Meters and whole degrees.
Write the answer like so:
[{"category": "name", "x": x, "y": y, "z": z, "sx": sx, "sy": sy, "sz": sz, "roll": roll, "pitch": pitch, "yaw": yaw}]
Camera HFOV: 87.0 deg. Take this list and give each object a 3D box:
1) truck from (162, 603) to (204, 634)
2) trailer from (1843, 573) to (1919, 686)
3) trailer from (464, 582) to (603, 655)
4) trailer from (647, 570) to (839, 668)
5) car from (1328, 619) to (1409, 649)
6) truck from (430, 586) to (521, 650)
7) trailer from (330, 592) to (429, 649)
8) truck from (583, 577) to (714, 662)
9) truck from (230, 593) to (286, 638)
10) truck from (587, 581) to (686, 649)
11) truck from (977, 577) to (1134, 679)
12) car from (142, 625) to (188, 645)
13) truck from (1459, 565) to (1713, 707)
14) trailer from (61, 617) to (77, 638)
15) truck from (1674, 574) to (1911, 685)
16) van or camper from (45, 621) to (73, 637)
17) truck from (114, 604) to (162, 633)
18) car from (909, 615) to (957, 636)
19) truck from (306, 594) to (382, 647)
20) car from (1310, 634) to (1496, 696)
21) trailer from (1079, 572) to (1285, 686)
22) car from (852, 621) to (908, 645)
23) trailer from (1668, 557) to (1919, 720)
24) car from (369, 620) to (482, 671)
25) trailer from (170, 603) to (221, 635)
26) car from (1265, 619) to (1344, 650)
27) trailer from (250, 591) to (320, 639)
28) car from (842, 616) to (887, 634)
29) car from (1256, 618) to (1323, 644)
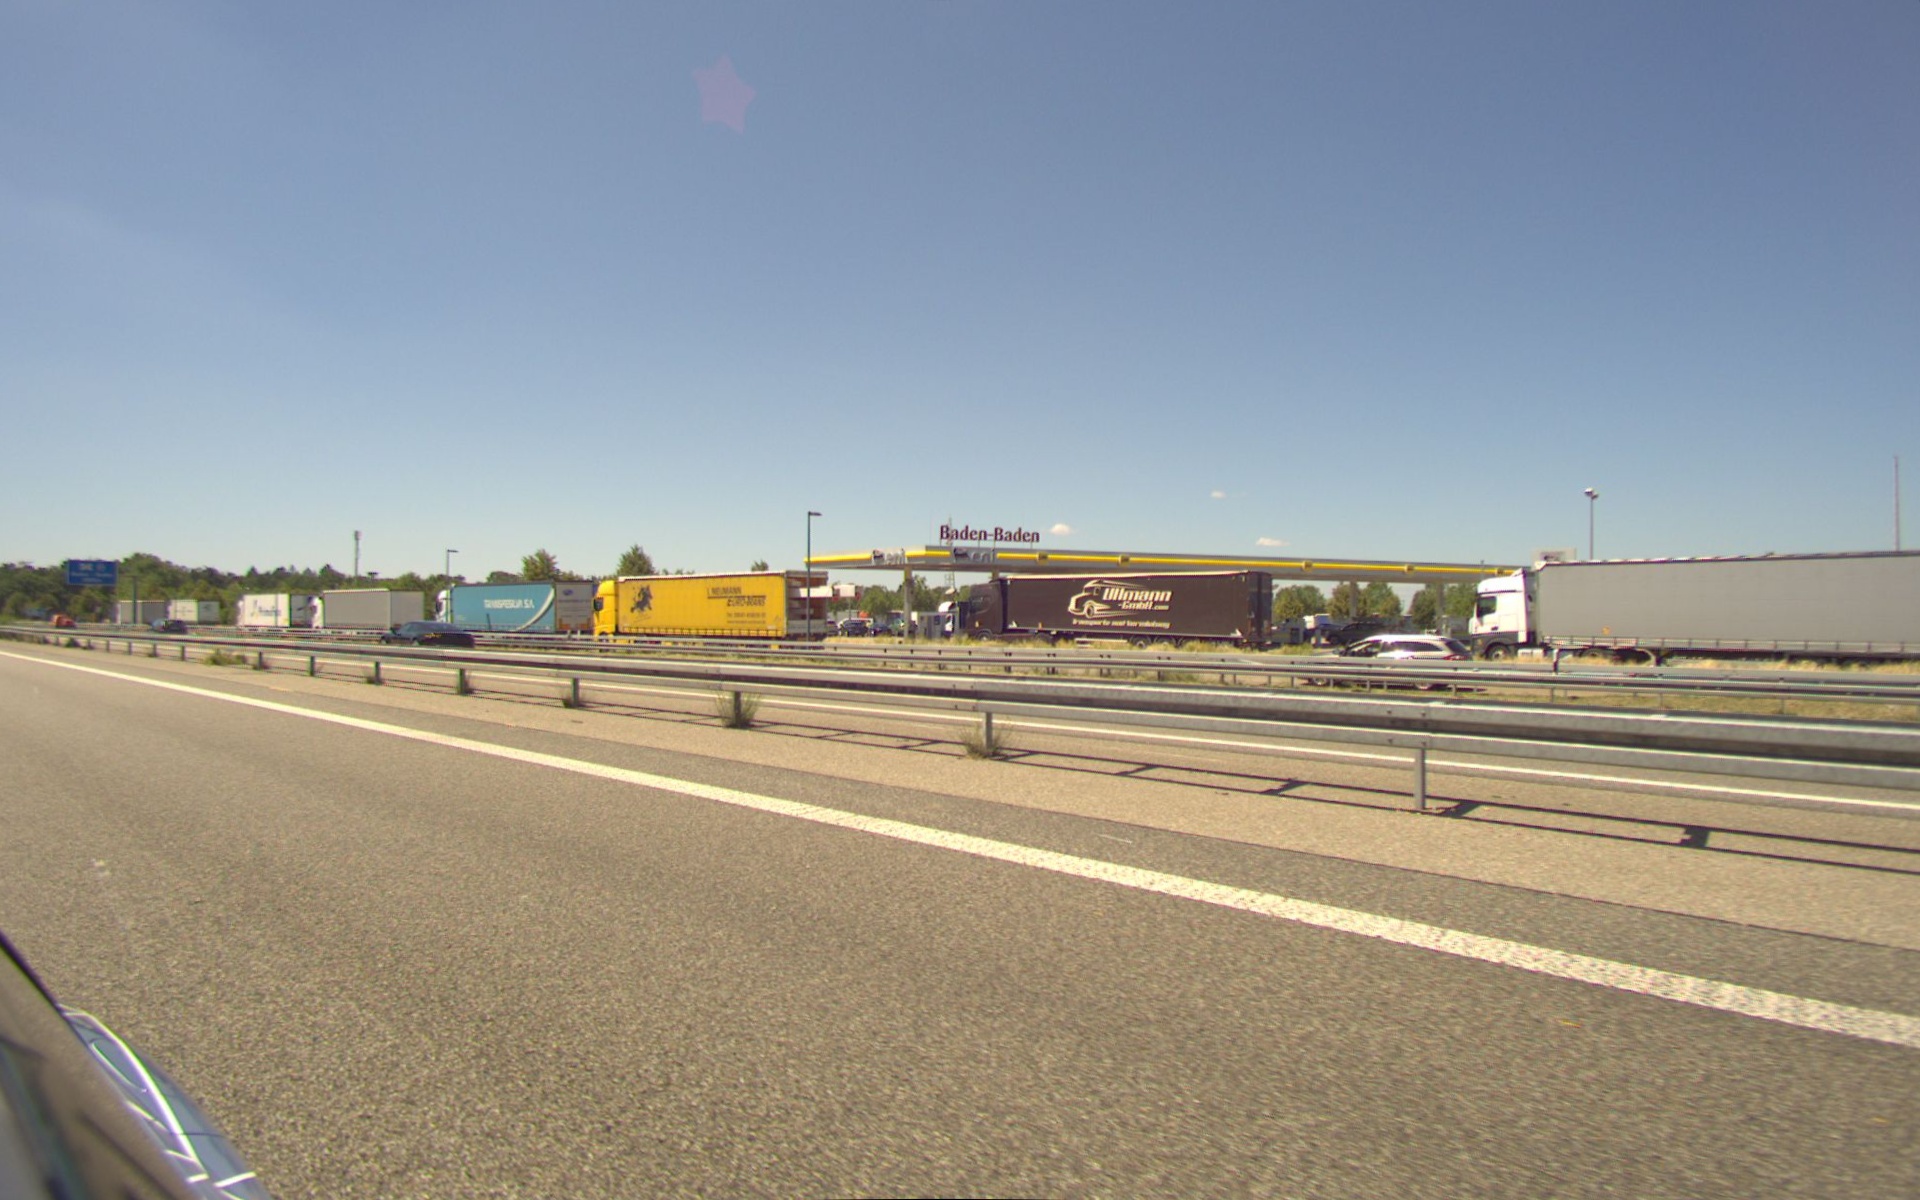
[{"category": "truck", "x": -110.052, "y": 2.652, "z": 143.315, "sx": 8.311, "sy": 4.183, "sz": 3.063, "roll": -1, "pitch": 0, "yaw": 41}, {"category": "trailer", "x": 41.696, "y": 1.076, "z": 37.886, "sx": 12.921, "sy": 4.390, "sz": 3.265, "roll": -1, "pitch": 0, "yaw": 43}, {"category": "trailer", "x": -26.816, "y": 1.101, "z": 63.188, "sx": 12.074, "sy": 4.179, "sz": 2.805, "roll": -1, "pitch": 0, "yaw": 40}, {"category": "trailer", "x": -10.711, "y": 0.867, "z": 48.881, "sx": 11.074, "sy": 4.251, "sz": 2.805, "roll": -1, "pitch": 0, "yaw": 40}, {"category": "car", "x": 28.939, "y": 2.384, "z": 71.776, "sx": 4.990, "sy": 2.003, "sz": 1.794, "roll": -1, "pitch": 0, "yaw": 41}, {"category": "truck", "x": -32.683, "y": 1.169, "z": 68.157, "sx": 7.084, "sy": 4.104, "sz": 2.821, "roll": -1, "pitch": 0, "yaw": 40}, {"category": "trailer", "x": -45.688, "y": 1.590, "z": 79.470, "sx": 11.005, "sy": 4.189, "sz": 3.082, "roll": -1, "pitch": 0, "yaw": 40}, {"category": "truck", "x": -16.676, "y": 0.978, "z": 53.940, "sx": 7.912, "sy": 4.232, "sz": 2.804, "roll": -1, "pitch": 0, "yaw": 40}, {"category": "truck", "x": -68.569, "y": 1.486, "z": 98.743, "sx": 7.931, "sy": 4.220, "sz": 2.555, "roll": -1, "pitch": 0, "yaw": 41}, {"category": "truck", "x": -20.650, "y": 0.939, "z": 64.463, "sx": 7.088, "sy": 4.104, "sz": 2.803, "roll": -1, "pitch": 0, "yaw": 42}, {"category": "truck", "x": 4.832, "y": 1.381, "z": 52.669, "sx": 7.878, "sy": 4.886, "sz": 2.993, "roll": -1, "pitch": 0, "yaw": 43}, {"category": "car", "x": -56.079, "y": 2.458, "z": 71.336, "sx": 4.316, "sy": 1.286, "sz": 1.723, "roll": -1, "pitch": -4, "yaw": 41}, {"category": "truck", "x": 23.721, "y": 1.229, "z": 38.698, "sx": 3.261, "sy": 4.886, "sz": 7.635, "roll": -1, "pitch": 0, "yaw": -42}, {"category": "trailer", "x": -103.645, "y": 3.187, "z": 117.740, "sx": 1.997, "sy": 2.387, "sz": 1.155, "roll": -1, "pitch": -1, "yaw": 41}, {"category": "truck", "x": 35.627, "y": 1.172, "z": 43.559, "sx": 7.625, "sy": 4.390, "sz": 3.265, "roll": -1, "pitch": 0, "yaw": 43}, {"category": "van or camper", "x": -107.956, "y": 3.432, "z": 121.268, "sx": 4.744, "sy": 1.853, "sz": 1.877, "roll": -1, "pitch": -1, "yaw": 41}, {"category": "truck", "x": -112.526, "y": 2.508, "z": 138.461, "sx": 13.598, "sy": 3.670, "sz": 2.770, "roll": -1, "pitch": 0, "yaw": 41}, {"category": "car", "x": -2.805, "y": 2.592, "z": 103.900, "sx": 4.523, "sy": 2.003, "sz": 1.957, "roll": -1, "pitch": 0, "yaw": -21}, {"category": "truck", "x": -51.207, "y": 1.690, "z": 84.077, "sx": 7.498, "sy": 4.189, "sz": 3.086, "roll": -1, "pitch": 0, "yaw": 40}, {"category": "car", "x": 12.514, "y": 1.772, "z": 28.729, "sx": 4.506, "sy": 1.500, "sz": 1.794, "roll": -1, "pitch": 0, "yaw": 41}, {"category": "trailer", "x": 10.247, "y": 1.280, "z": 47.648, "sx": 9.133, "sy": 4.886, "sz": 3.000, "roll": -1, "pitch": 0, "yaw": 43}, {"category": "car", "x": -7.435, "y": 3.037, "z": 93.906, "sx": 4.798, "sy": 2.003, "sz": 1.956, "roll": -1, "pitch": 0, "yaw": -16}, {"category": "trailer", "x": 29.066, "y": 1.138, "z": 32.650, "sx": 3.261, "sy": 4.911, "sz": 9.694, "roll": -1, "pitch": 0, "yaw": -42}, {"category": "car", "x": -19.612, "y": 1.600, "z": 37.053, "sx": 5.013, "sy": 1.659, "sz": 1.952, "roll": -1, "pitch": 0, "yaw": 41}, {"category": "trailer", "x": -104.980, "y": 2.567, "z": 138.927, "sx": 12.003, "sy": 4.187, "sz": 3.062, "roll": -1, "pitch": 0, "yaw": 41}, {"category": "car", "x": 23.447, "y": 2.322, "z": 68.963, "sx": 4.780, "sy": 2.003, "sz": 1.794, "roll": -1, "pitch": 0, "yaw": 41}, {"category": "trailer", "x": -62.453, "y": 1.391, "z": 93.489, "sx": 10.508, "sy": 4.250, "sz": 2.572, "roll": -1, "pitch": 0, "yaw": 41}, {"category": "car", "x": -10.683, "y": 2.764, "z": 113.107, "sx": 4.815, "sy": 1.883, "sz": 1.789, "roll": -1, "pitch": 0, "yaw": -16}, {"category": "car", "x": 27.123, "y": 2.570, "z": 83.407, "sx": 4.818, "sy": 2.003, "sz": 1.948, "roll": -1, "pitch": 0, "yaw": 4}]
